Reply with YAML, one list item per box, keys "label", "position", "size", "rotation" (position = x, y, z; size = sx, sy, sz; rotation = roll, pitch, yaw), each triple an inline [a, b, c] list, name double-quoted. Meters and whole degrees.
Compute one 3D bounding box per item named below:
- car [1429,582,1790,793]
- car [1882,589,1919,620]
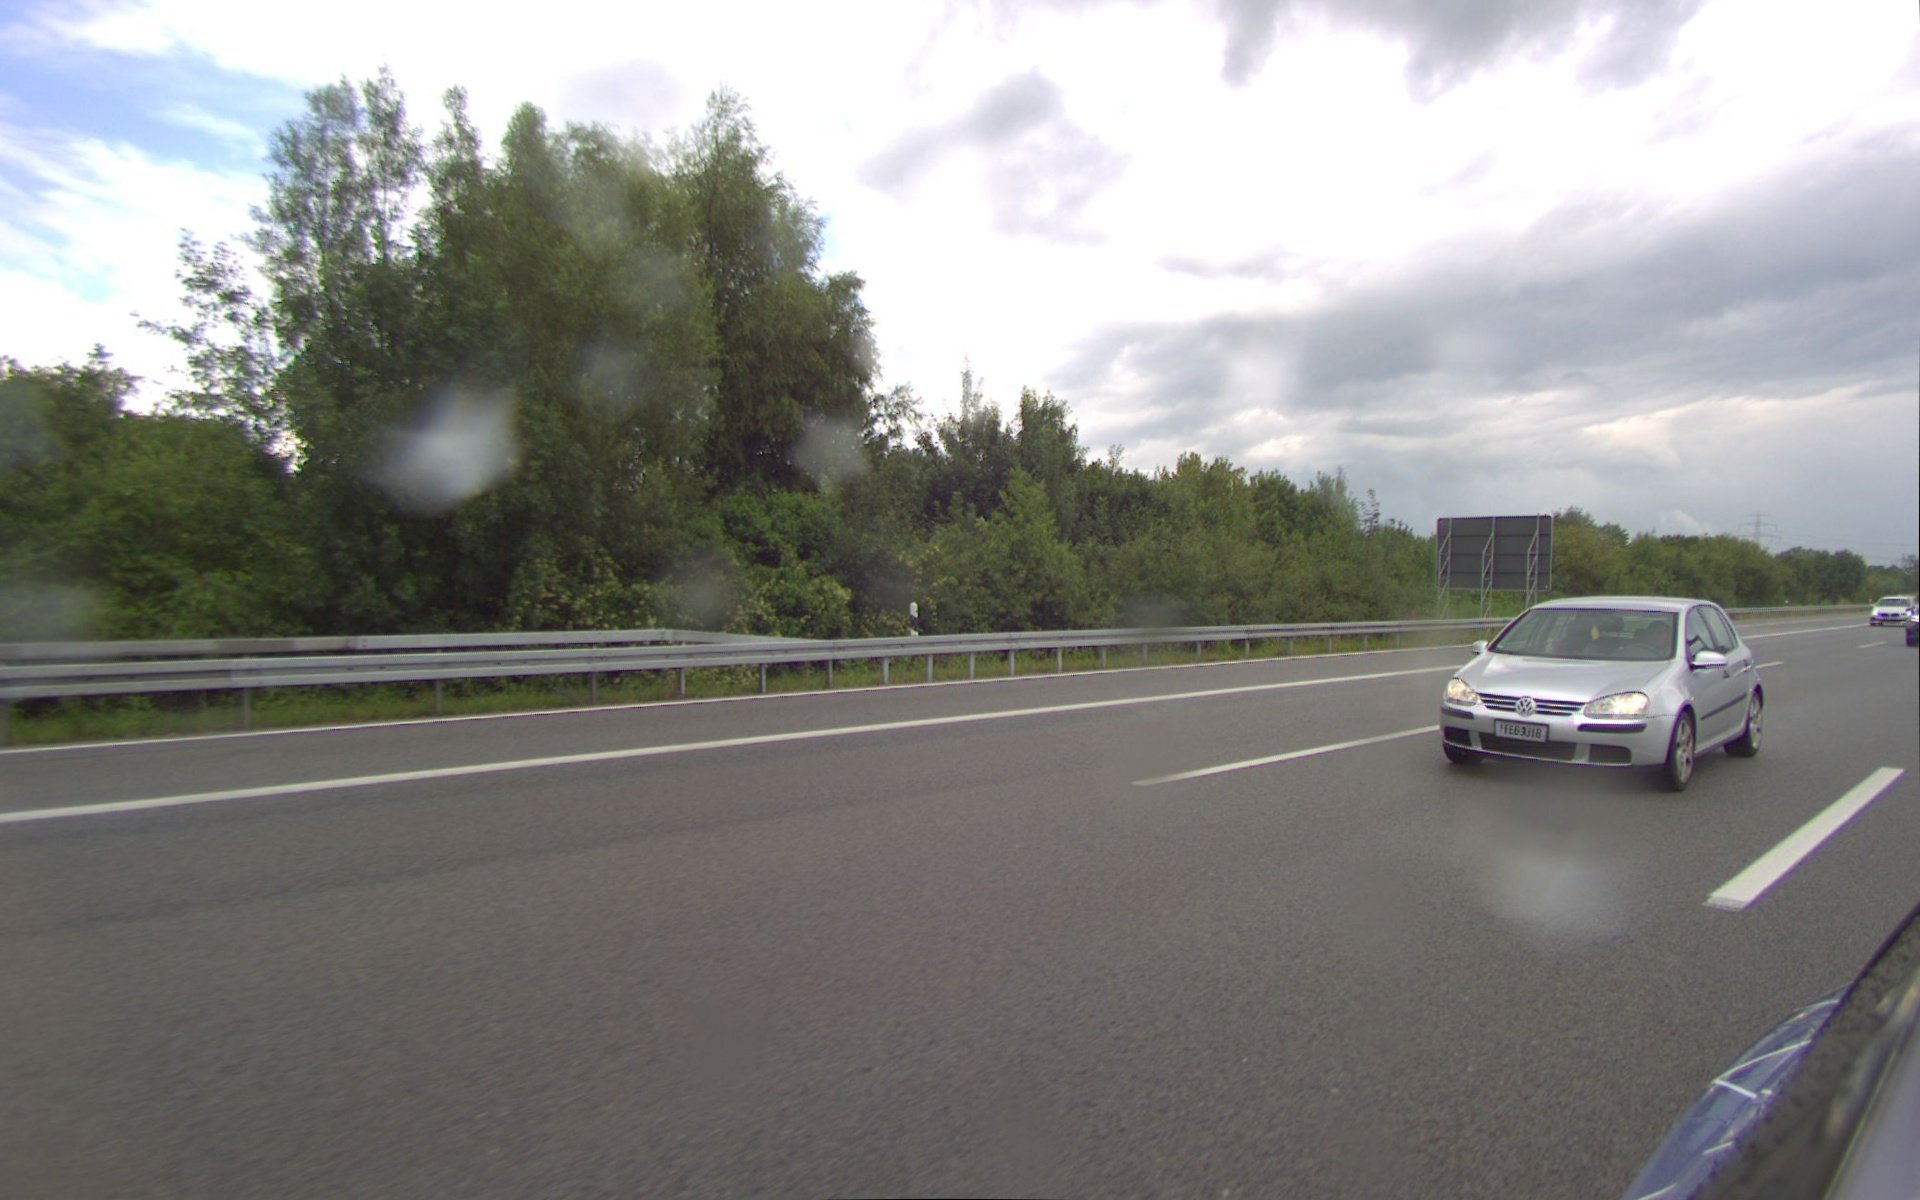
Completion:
- label: "car"
  position: [6.016, 0.601, 9.186]
  size: [3.968, 1.495, 1.798]
  rotation: [0, 1, -42]
- label: "car"
  position: [51.829, 0.209, 55.317]
  size: [4.617, 1.619, 1.812]
  rotation: [0, 1, -43]
